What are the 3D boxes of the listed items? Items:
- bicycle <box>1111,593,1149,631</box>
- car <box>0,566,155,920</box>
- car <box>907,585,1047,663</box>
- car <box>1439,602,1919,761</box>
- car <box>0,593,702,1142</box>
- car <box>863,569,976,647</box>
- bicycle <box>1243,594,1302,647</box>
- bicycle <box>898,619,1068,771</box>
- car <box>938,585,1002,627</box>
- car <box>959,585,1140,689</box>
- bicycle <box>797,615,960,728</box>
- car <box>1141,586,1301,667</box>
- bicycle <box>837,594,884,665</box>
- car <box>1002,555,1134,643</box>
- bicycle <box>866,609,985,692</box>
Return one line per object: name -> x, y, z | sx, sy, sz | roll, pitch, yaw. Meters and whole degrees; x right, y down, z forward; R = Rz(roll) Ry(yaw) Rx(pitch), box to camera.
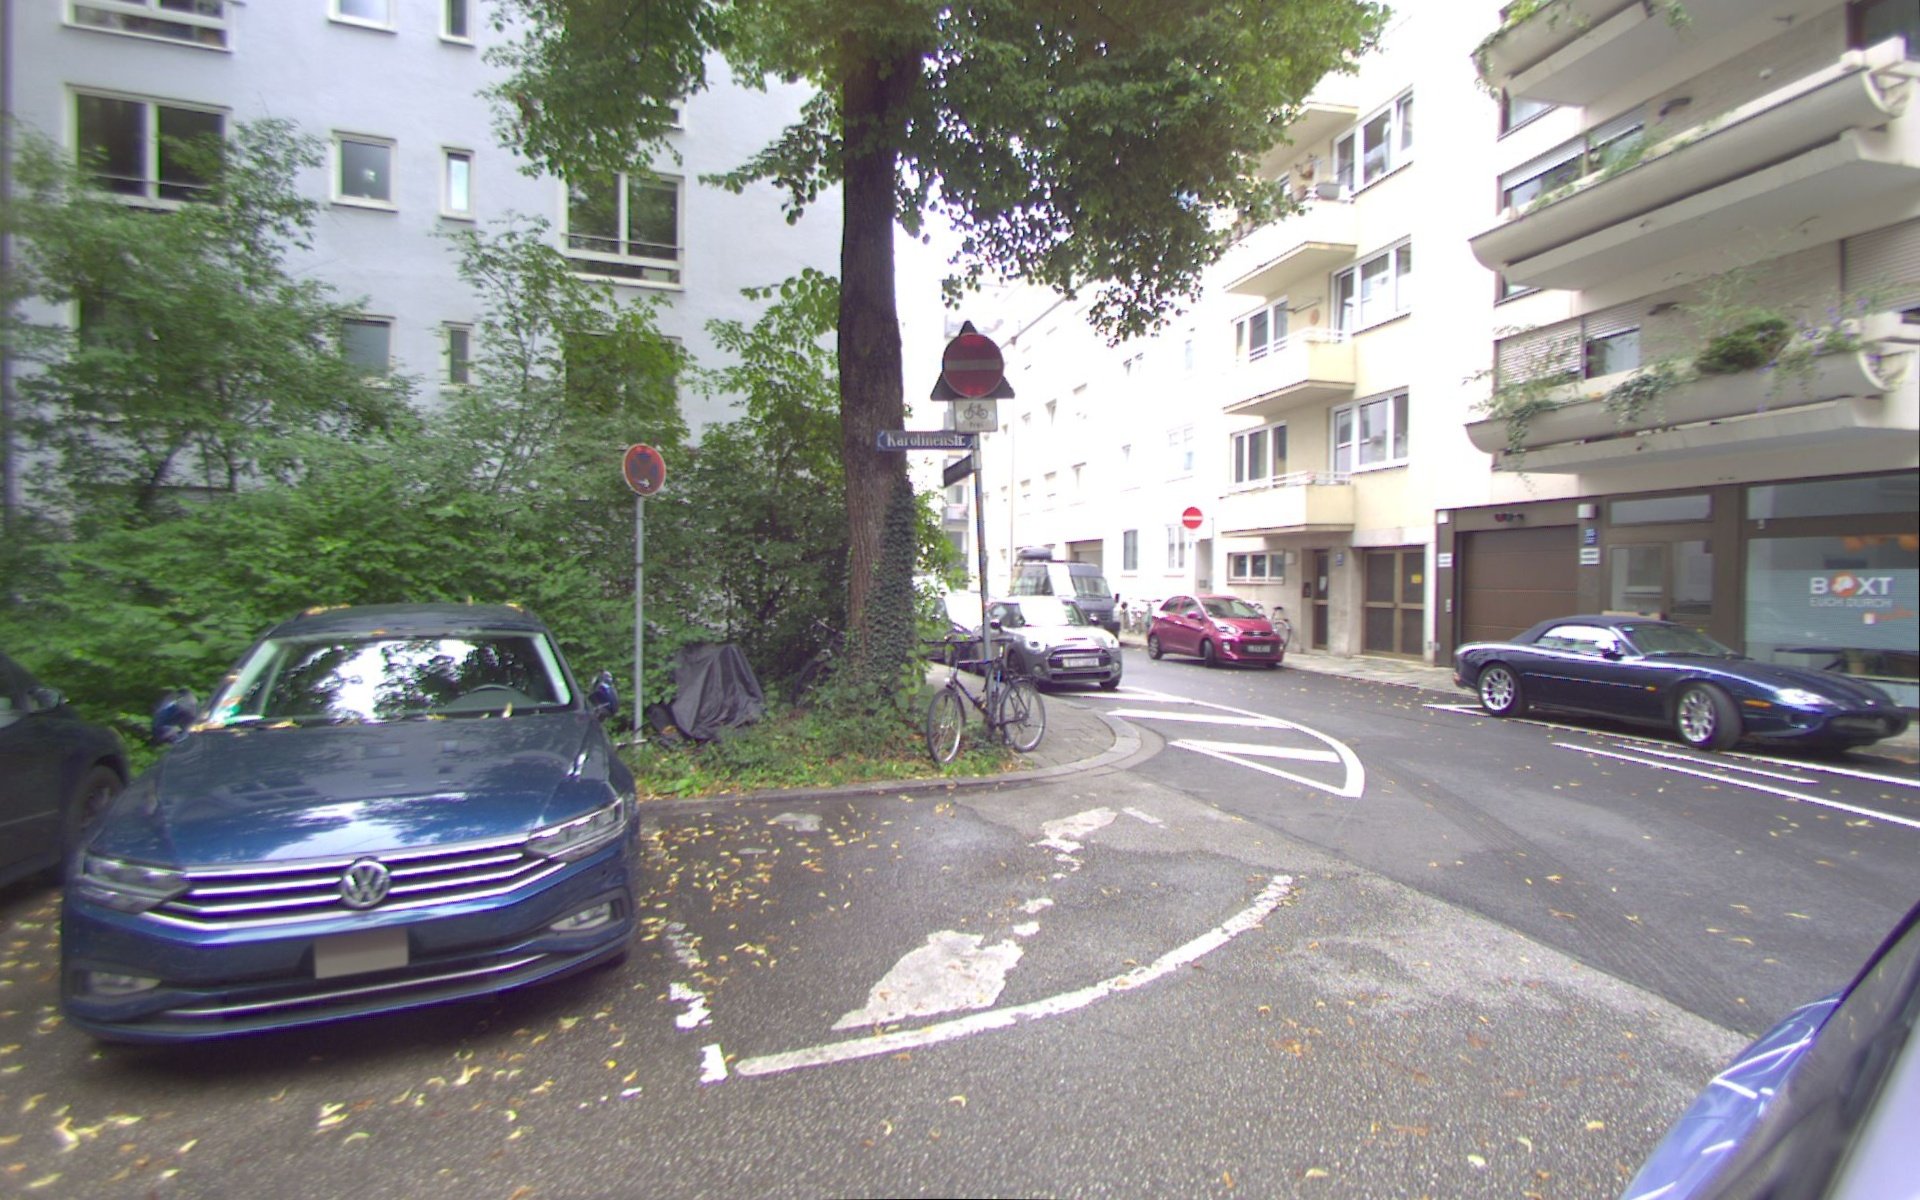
bicycle -> 5.333, 0.362, 31.882 | 0.455, 1.111, 1.874 | 0, 1, -14
car -> -4.986, 0.651, 3.948 | 1.719, 1.575, 3.993 | -1, 1, -20
car -> 0.239, 0.434, 21.164 | 1.800, 1.437, 4.067 | 0, 1, -16
car -> 7.727, 0.731, 11.180 | 1.765, 1.294, 4.627 | 2, 0, -16
car -> -2.743, 0.697, 5.237 | 1.919, 1.394, 4.742 | -1, 1, -25
car -> -1.164, 0.128, 26.168 | 1.841, 1.813, 4.793 | 0, 1, -16
bicycle -> 7.227, 0.454, 23.480 | 0.459, 1.163, 1.764 | -1, 1, -15
bicycle -> 0.243, 0.778, 8.970 | 0.552, 1.152, 1.748 | 1, 1, 40
car -> 0.348, 0.205, 39.807 | 1.583, 1.464, 3.751 | 3, 1, -14
car -> 1.310, 0.506, 16.602 | 1.712, 1.459, 4.009 | 0, 1, -14
bicycle -> -0.851, 0.720, 10.674 | 1.602, 1.069, 0.606 | -1, 1, -30
car -> 5.401, 0.492, 21.401 | 1.590, 1.515, 3.717 | 0, 1, -16
bicycle -> -1.889, 0.515, 18.984 | 0.549, 1.235, 1.922 | -1, 1, -15
car -> 3.018, -0.076, 29.719 | 1.982, 2.307, 5.403 | 2, 1, -15
bicycle -> -0.484, 0.666, 13.853 | 1.619, 1.069, 0.447 | 0, 1, 28
